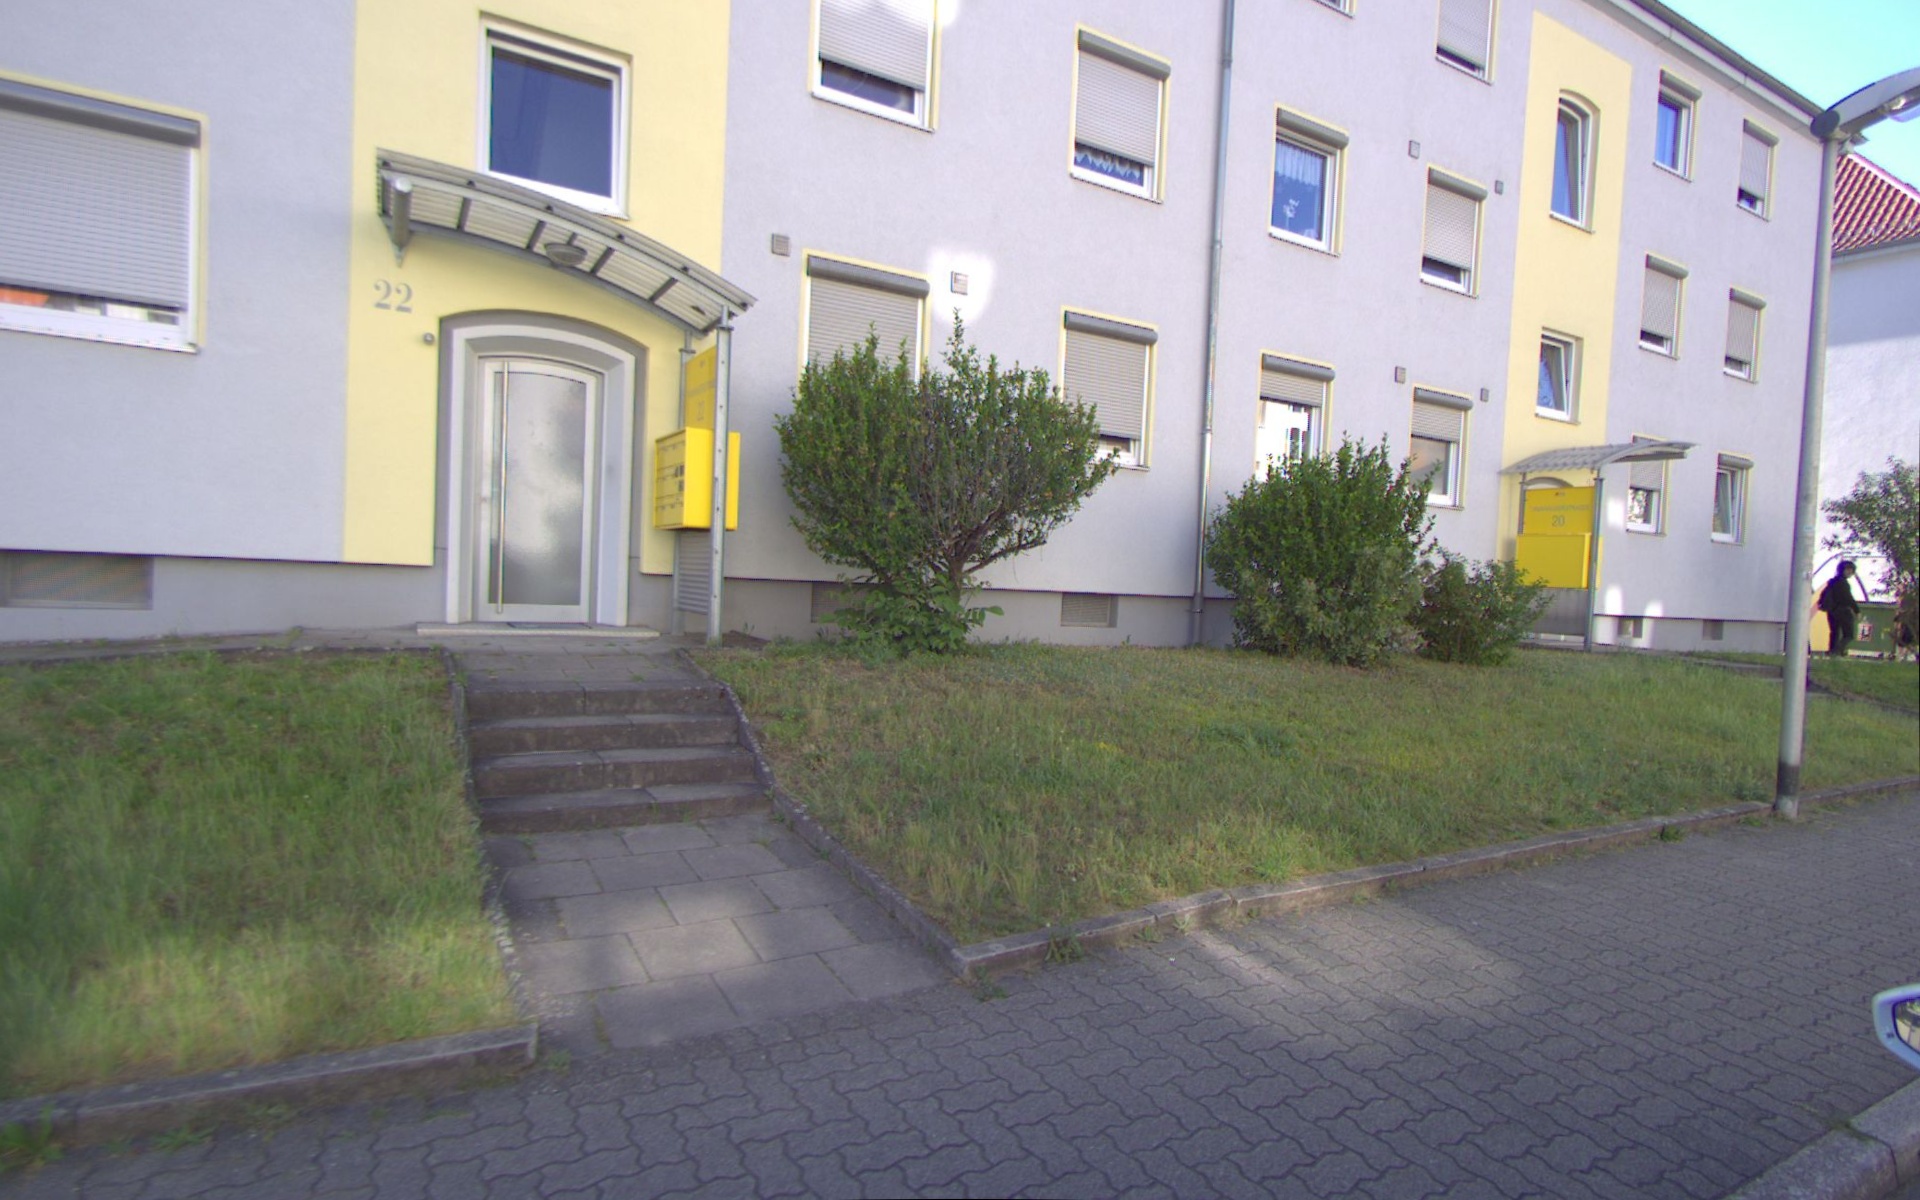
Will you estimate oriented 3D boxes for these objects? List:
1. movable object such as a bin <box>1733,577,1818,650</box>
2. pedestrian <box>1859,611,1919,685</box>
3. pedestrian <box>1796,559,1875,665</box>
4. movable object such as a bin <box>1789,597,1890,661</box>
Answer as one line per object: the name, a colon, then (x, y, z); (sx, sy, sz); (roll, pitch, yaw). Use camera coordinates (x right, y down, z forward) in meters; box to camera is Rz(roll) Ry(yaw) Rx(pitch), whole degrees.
movable object such as a bin: (16.946, 0.268, 20.889); (0.803, 1.425, 1.079); (1, 3, -29)
pedestrian: (17.567, 0.905, 18.974); (0.569, 1.335, 0.683); (2, 2, -29)
pedestrian: (15.773, 0.207, 18.099); (0.709, 1.848, 0.802); (2, 2, -29)
movable object such as a bin: (20.774, 0.668, 23.742); (1.214, 1.354, 1.380); (1, 4, -30)
